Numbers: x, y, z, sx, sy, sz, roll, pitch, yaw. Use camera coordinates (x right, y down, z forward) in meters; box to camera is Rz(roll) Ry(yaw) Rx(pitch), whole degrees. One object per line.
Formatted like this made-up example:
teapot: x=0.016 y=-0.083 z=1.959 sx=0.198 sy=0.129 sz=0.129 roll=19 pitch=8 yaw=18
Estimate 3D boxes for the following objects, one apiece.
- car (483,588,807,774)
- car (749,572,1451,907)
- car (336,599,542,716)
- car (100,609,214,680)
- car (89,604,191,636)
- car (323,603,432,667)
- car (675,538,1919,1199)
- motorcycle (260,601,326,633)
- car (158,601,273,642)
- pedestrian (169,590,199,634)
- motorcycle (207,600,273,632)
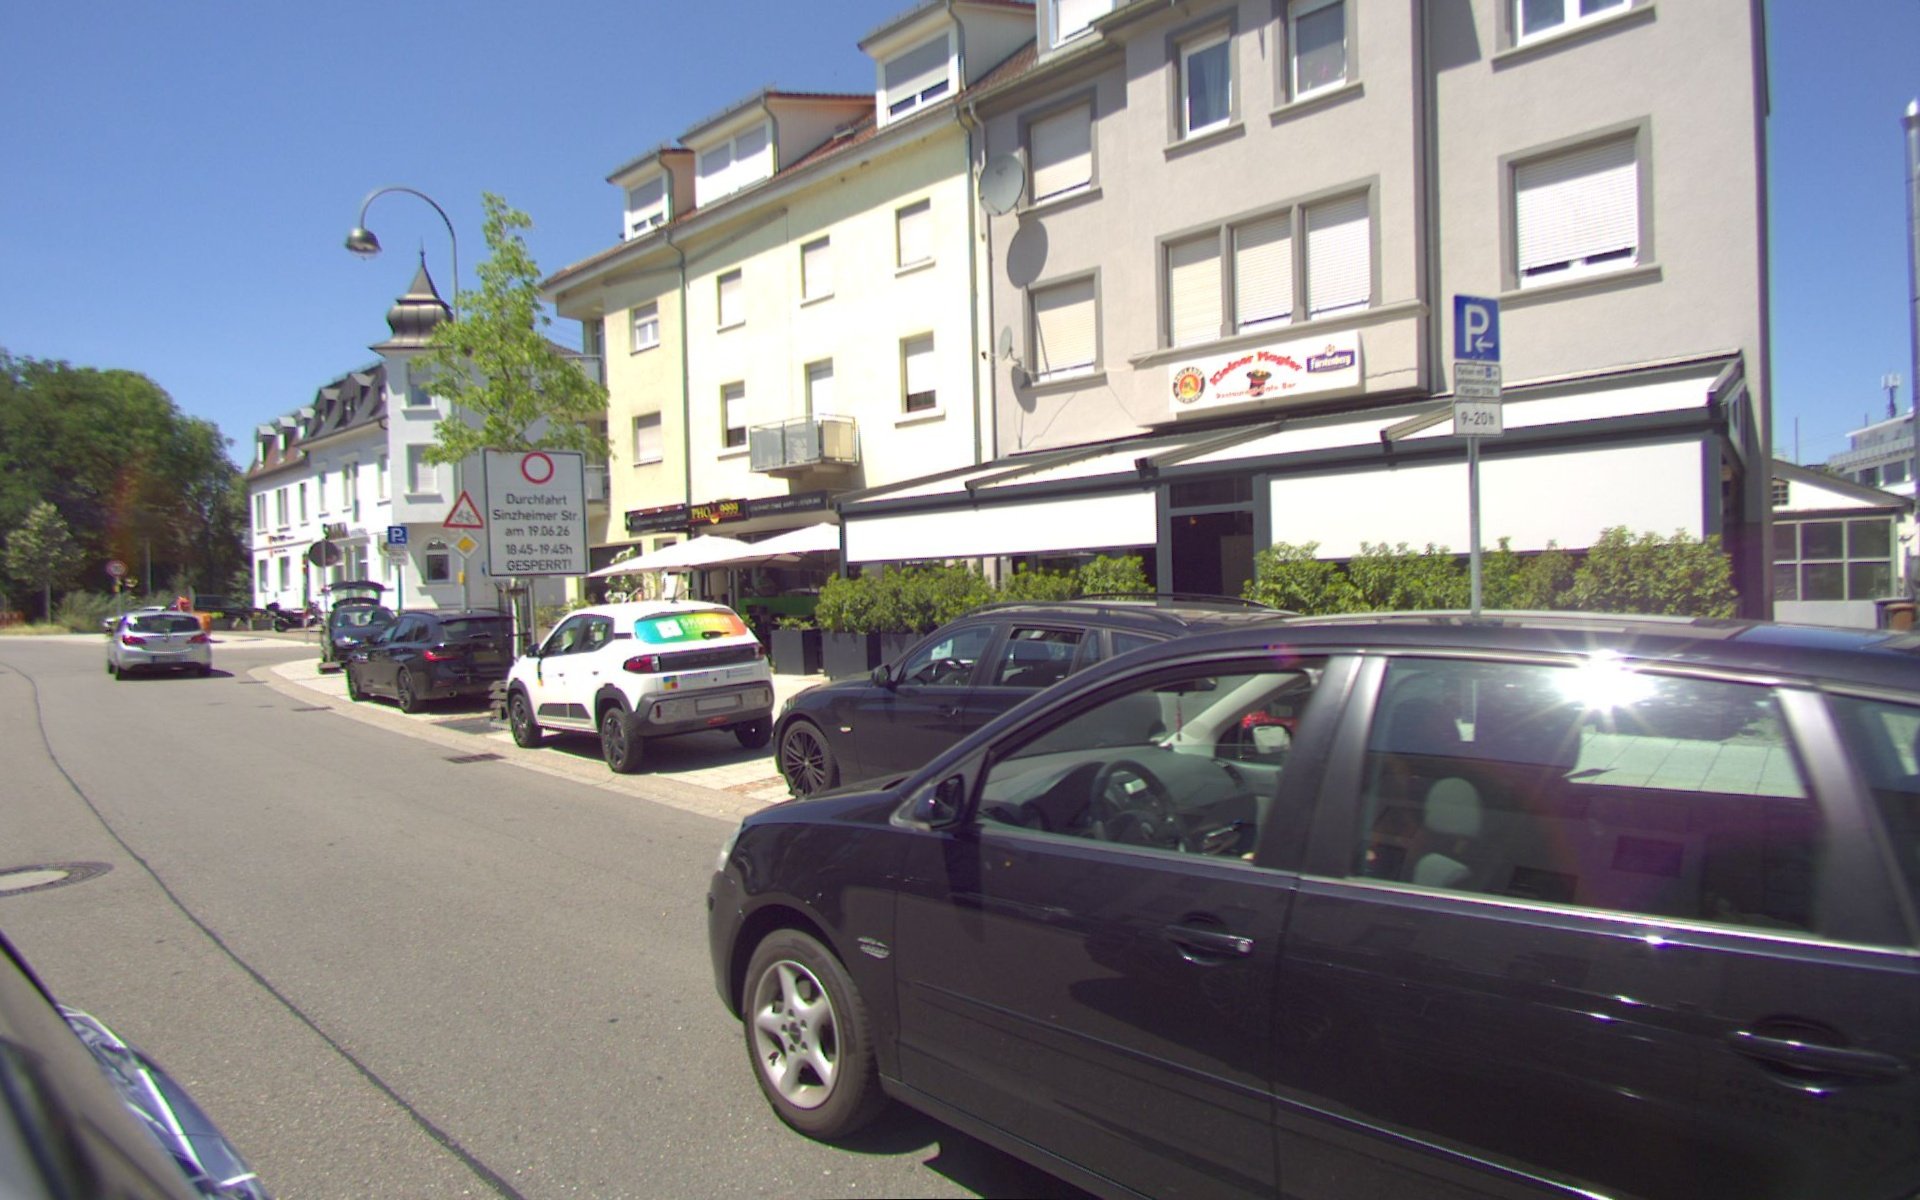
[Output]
car: x=-3.373 y=0.704 z=10.437 sx=1.661 sy=1.495 sz=3.772 roll=-4 pitch=2 yaw=-43
car: x=0.606 y=0.651 z=6.742 sx=4.451 sy=1.456 sz=1.734 roll=-1 pitch=2 yaw=45
car: x=-8.174 y=0.804 z=15.685 sx=1.661 sy=1.495 sz=4.344 roll=-4 pitch=2 yaw=-43
car: x=-18.652 y=0.975 z=23.443 sx=1.661 sy=1.495 sz=4.089 roll=0 pitch=-1 yaw=-44
car: x=-42.091 y=1.004 z=52.083 sx=1.814 sy=1.548 sz=3.931 roll=-1 pitch=0 yaw=7
car: x=-14.550 y=0.848 z=25.200 sx=1.872 sy=1.452 sz=3.783 roll=0 pitch=-1 yaw=-38
car: x=1.083 y=0.685 z=2.375 sx=3.863 sy=1.465 sz=1.599 roll=-2 pitch=-2 yaw=43
motorcycle: x=-28.662 y=0.731 z=43.514 sx=0.726 sy=1.335 sz=2.291 roll=-2 pitch=-1 yaw=44
car: x=-33.853 y=0.951 z=46.061 sx=4.021 sy=1.752 sz=1.816 roll=-1 pitch=-1 yaw=-44
pedestrian: x=-31.964 y=0.492 z=41.698 sx=0.800 sy=1.779 sz=0.750 roll=-1 pitch=-1 yaw=32
motorcycle: x=-31.775 y=0.701 z=44.691 sx=0.726 sy=1.335 sz=2.291 roll=-2 pitch=-1 yaw=44
